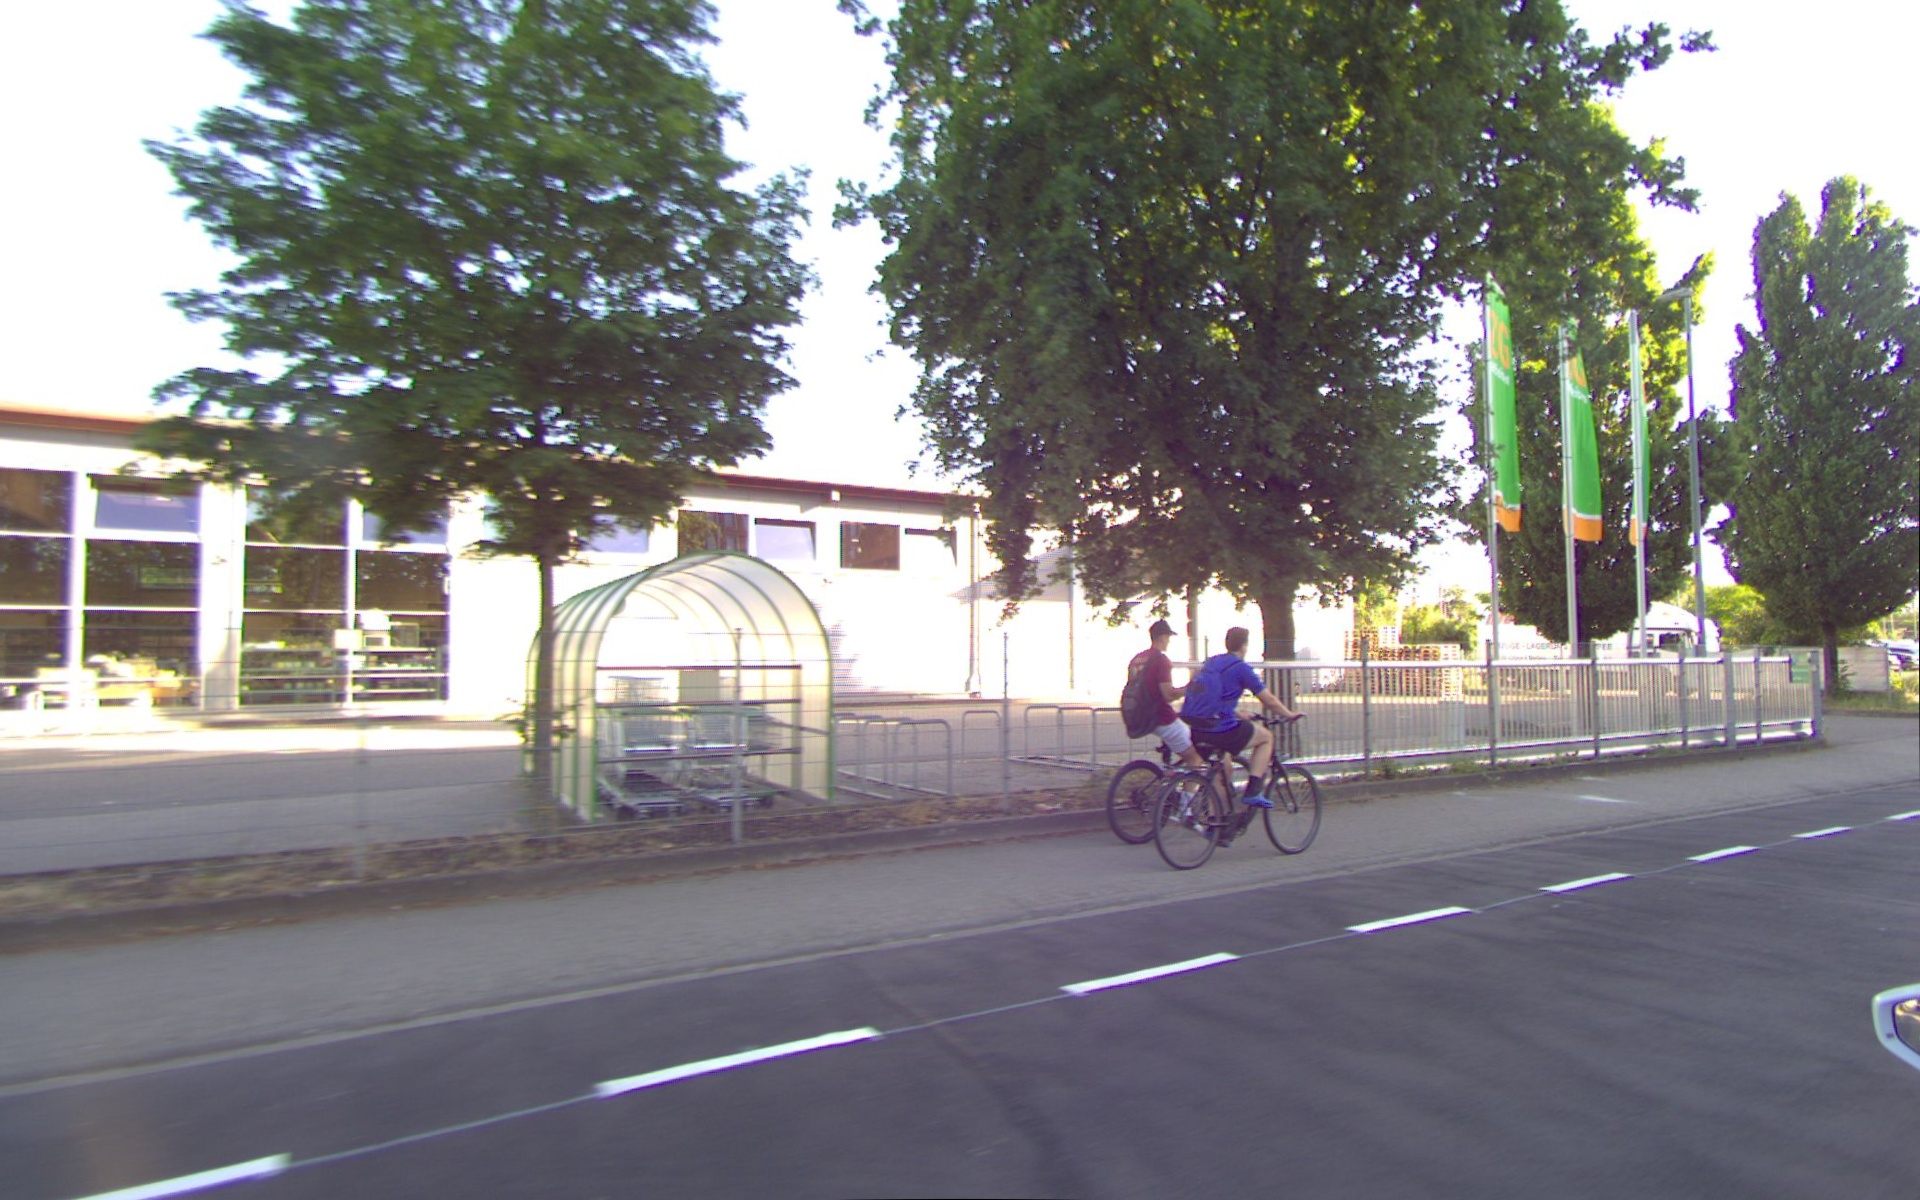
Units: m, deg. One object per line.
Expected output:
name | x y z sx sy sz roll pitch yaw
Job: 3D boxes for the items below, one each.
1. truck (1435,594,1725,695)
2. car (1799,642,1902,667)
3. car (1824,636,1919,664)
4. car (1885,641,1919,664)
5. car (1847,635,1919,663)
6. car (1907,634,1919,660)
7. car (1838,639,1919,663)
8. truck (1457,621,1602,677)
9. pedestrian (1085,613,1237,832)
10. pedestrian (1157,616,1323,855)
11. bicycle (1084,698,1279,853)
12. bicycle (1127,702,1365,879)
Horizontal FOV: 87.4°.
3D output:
truck | 25.059 1.853 41.447 2.744 3.661 10.050 2 -3 -30
car | 52.193 3.180 58.926 2.027 1.415 4.137 1 -3 -33
car | 54.860 3.003 60.323 2.027 1.599 4.137 1 -3 -33
car | 66.509 3.600 68.731 1.835 1.566 4.349 0 -2 -29
car | 58.708 3.082 63.060 1.945 1.683 4.138 1 -3 -32
car | 68.822 3.236 69.423 1.835 1.829 4.557 0 -2 -29
car | 56.889 3.134 61.637 2.027 1.415 4.137 1 -3 -33
truck | 30.652 2.709 54.349 2.290 2.843 6.464 1 -4 -31
pedestrian | 1.712 1.002 8.584 1.045 1.743 0.717 1 -3 -30
pedestrian | 2.201 1.017 7.923 1.045 1.743 0.717 1 -3 -30
bicycle | 1.955 1.474 8.753 1.848 1.163 0.467 1 -2 -31
bicycle | 2.302 1.438 7.944 2.175 1.163 0.444 1 -2 -31
